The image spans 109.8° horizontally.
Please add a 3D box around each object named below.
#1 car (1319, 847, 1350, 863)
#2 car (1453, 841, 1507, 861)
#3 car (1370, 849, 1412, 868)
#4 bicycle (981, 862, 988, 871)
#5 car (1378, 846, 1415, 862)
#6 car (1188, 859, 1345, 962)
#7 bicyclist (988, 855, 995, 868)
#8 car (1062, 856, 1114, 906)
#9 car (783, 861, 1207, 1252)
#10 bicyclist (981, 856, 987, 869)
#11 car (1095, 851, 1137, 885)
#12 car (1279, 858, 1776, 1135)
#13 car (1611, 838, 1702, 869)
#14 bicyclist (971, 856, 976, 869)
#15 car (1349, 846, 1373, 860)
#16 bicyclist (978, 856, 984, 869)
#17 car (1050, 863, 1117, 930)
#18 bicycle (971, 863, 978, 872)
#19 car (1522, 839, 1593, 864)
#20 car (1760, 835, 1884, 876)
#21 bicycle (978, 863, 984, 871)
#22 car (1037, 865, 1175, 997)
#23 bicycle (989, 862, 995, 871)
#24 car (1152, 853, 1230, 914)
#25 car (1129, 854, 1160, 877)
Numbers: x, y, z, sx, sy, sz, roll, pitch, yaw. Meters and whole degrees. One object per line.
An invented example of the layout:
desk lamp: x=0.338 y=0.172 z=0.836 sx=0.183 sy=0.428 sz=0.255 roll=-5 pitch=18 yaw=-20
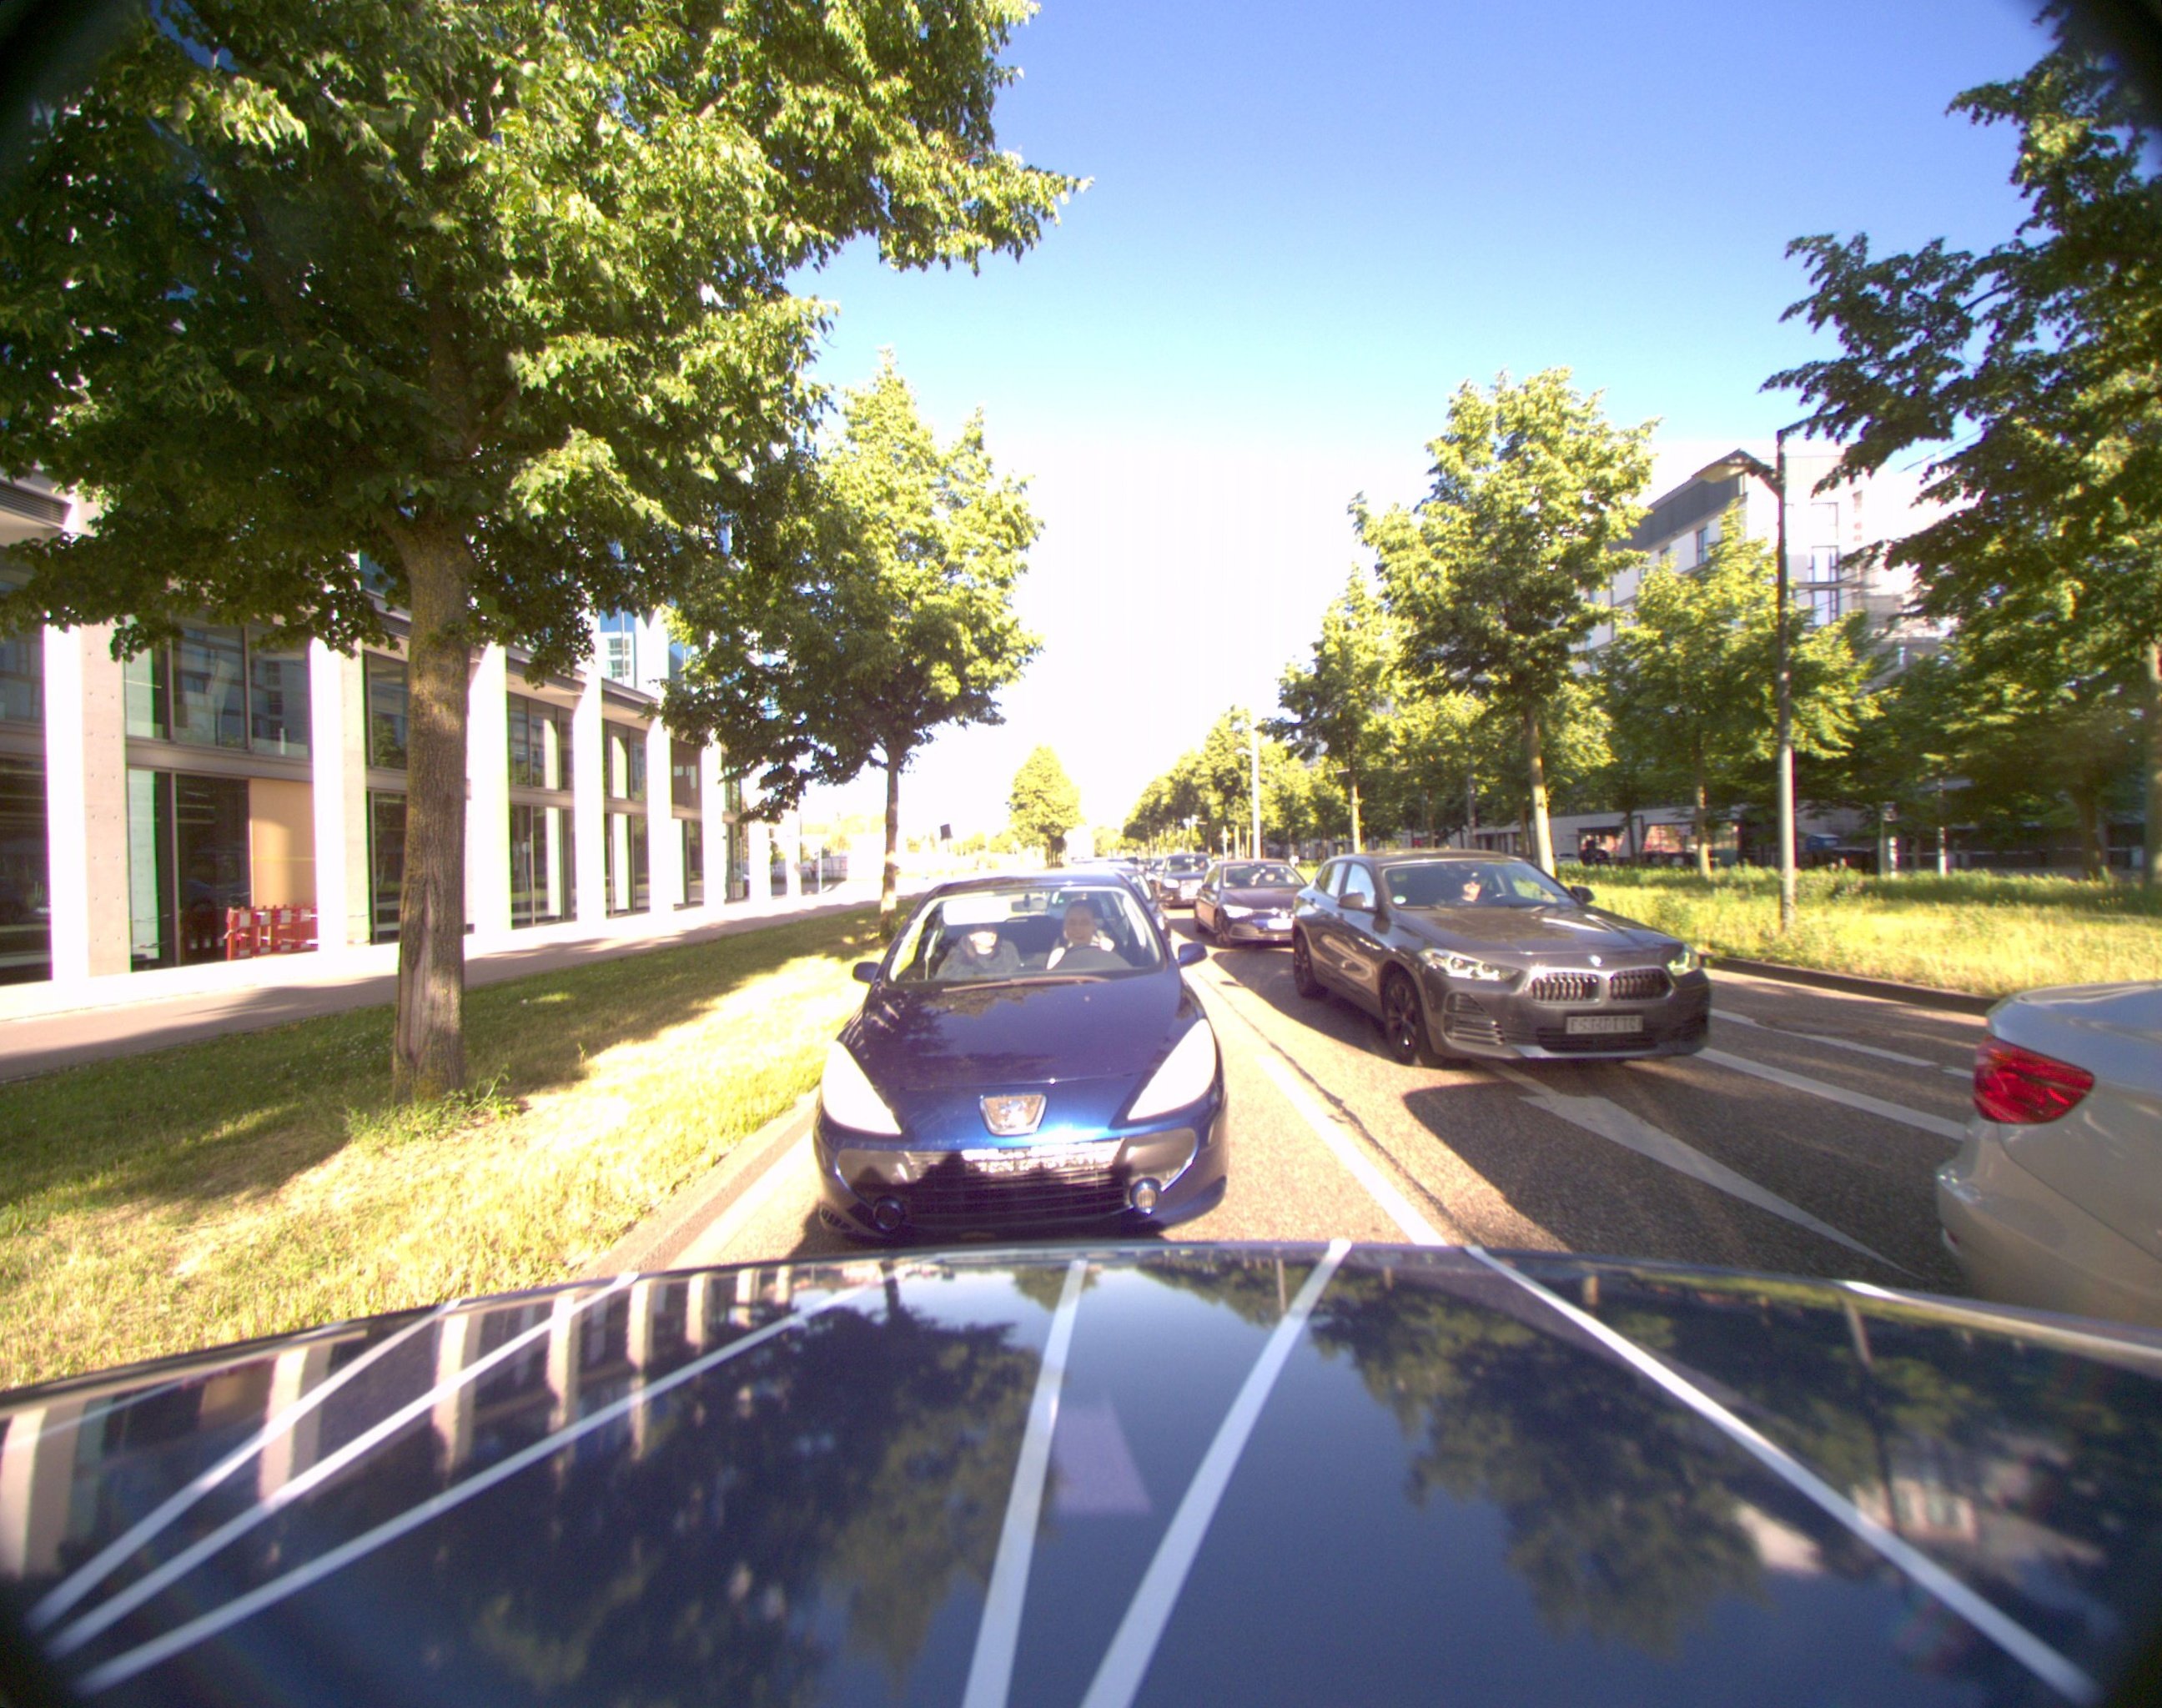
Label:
car: x=28.106 y=0.082 z=84.433 sx=1.858 sy=1.719 sz=4.792 roll=-1 pitch=0 yaw=1
car: x=34.628 y=-0.262 z=66.063 sx=2.012 sy=1.689 sz=4.791 roll=-1 pitch=0 yaw=-3
car: x=24.043 y=0.354 z=59.002 sx=1.666 sy=1.384 sz=4.000 roll=-1 pitch=0 yaw=1
bicycle: x=-9.396 y=1.243 z=73.734 sx=0.464 sy=0.813 sz=1.344 roll=-2 pitch=1 yaw=1
car: x=34.663 y=0.012 z=83.563 sx=2.012 sy=1.689 sz=4.791 roll=-1 pitch=0 yaw=-1
car: x=3.046 y=0.853 z=13.388 sx=1.812 sy=1.445 sz=4.254 roll=-1 pitch=0 yaw=2
bicyclist: x=-9.169 y=0.786 z=77.978 sx=0.534 sy=1.282 sz=0.521 roll=-2 pitch=1 yaw=1
car: x=0.249 y=0.916 z=27.272 sx=1.705 sy=1.591 sz=3.785 roll=-1 pitch=0 yaw=1
car: x=-0.324 y=0.845 z=4.983 sx=1.686 sy=1.513 sz=3.785 roll=-1 pitch=0 yaw=1
bicyclist: x=-9.412 y=0.820 z=73.741 sx=0.534 sy=1.210 sz=0.507 roll=-2 pitch=1 yaw=1
car: x=1.849 y=0.707 z=41.729 sx=2.012 sy=1.689 sz=4.791 roll=-1 pitch=0 yaw=-1
car: x=3.080 y=0.832 z=6.359 sx=1.812 sy=1.513 sz=4.029 roll=-1 pitch=0 yaw=1
car: x=34.418 y=-0.031 z=45.600 sx=1.858 sy=1.674 sz=4.792 roll=-1 pitch=0 yaw=1
bicyclist: x=-10.454 y=0.822 z=73.926 sx=0.448 sy=1.282 sz=0.418 roll=-2 pitch=1 yaw=1
car: x=34.703 y=-0.149 z=94.198 sx=1.601 sy=1.659 sz=3.743 roll=-1 pitch=0 yaw=1
bicyclist: x=-10.255 y=0.834 z=77.727 sx=0.534 sy=1.282 sz=0.457 roll=-2 pitch=1 yaw=1
car: x=0.079 y=0.926 z=18.029 sx=1.407 sy=1.326 sz=3.785 roll=-1 pitch=0 yaw=1
bicycle: x=-10.406 y=1.279 z=73.986 sx=0.415 sy=0.813 sz=1.320 roll=-2 pitch=1 yaw=1
car: x=34.831 y=-0.162 z=55.725 sx=2.012 sy=1.689 sz=4.791 roll=-1 pitch=0 yaw=-3
car: x=34.229 y=0.058 z=35.276 sx=1.858 sy=1.739 sz=4.000 roll=-1 pitch=0 yaw=1
bicycle: x=-10.235 y=1.321 z=77.769 sx=0.464 sy=0.813 sz=1.344 roll=-2 pitch=1 yaw=1
car: x=0.329 y=0.947 z=11.240 sx=1.612 sy=1.463 sz=4.395 roll=-1 pitch=0 yaw=1
bicycle: x=-9.147 y=1.284 z=78.060 sx=0.464 sy=0.813 sz=1.344 roll=-2 pitch=1 yaw=1
car: x=3.171 y=0.800 z=22.590 sx=1.812 sy=1.581 sz=4.165 roll=-1 pitch=0 yaw=2
car: x=5.059 y=0.873 z=60.958 sx=2.012 sy=1.689 sz=4.791 roll=-1 pitch=0 yaw=-1
